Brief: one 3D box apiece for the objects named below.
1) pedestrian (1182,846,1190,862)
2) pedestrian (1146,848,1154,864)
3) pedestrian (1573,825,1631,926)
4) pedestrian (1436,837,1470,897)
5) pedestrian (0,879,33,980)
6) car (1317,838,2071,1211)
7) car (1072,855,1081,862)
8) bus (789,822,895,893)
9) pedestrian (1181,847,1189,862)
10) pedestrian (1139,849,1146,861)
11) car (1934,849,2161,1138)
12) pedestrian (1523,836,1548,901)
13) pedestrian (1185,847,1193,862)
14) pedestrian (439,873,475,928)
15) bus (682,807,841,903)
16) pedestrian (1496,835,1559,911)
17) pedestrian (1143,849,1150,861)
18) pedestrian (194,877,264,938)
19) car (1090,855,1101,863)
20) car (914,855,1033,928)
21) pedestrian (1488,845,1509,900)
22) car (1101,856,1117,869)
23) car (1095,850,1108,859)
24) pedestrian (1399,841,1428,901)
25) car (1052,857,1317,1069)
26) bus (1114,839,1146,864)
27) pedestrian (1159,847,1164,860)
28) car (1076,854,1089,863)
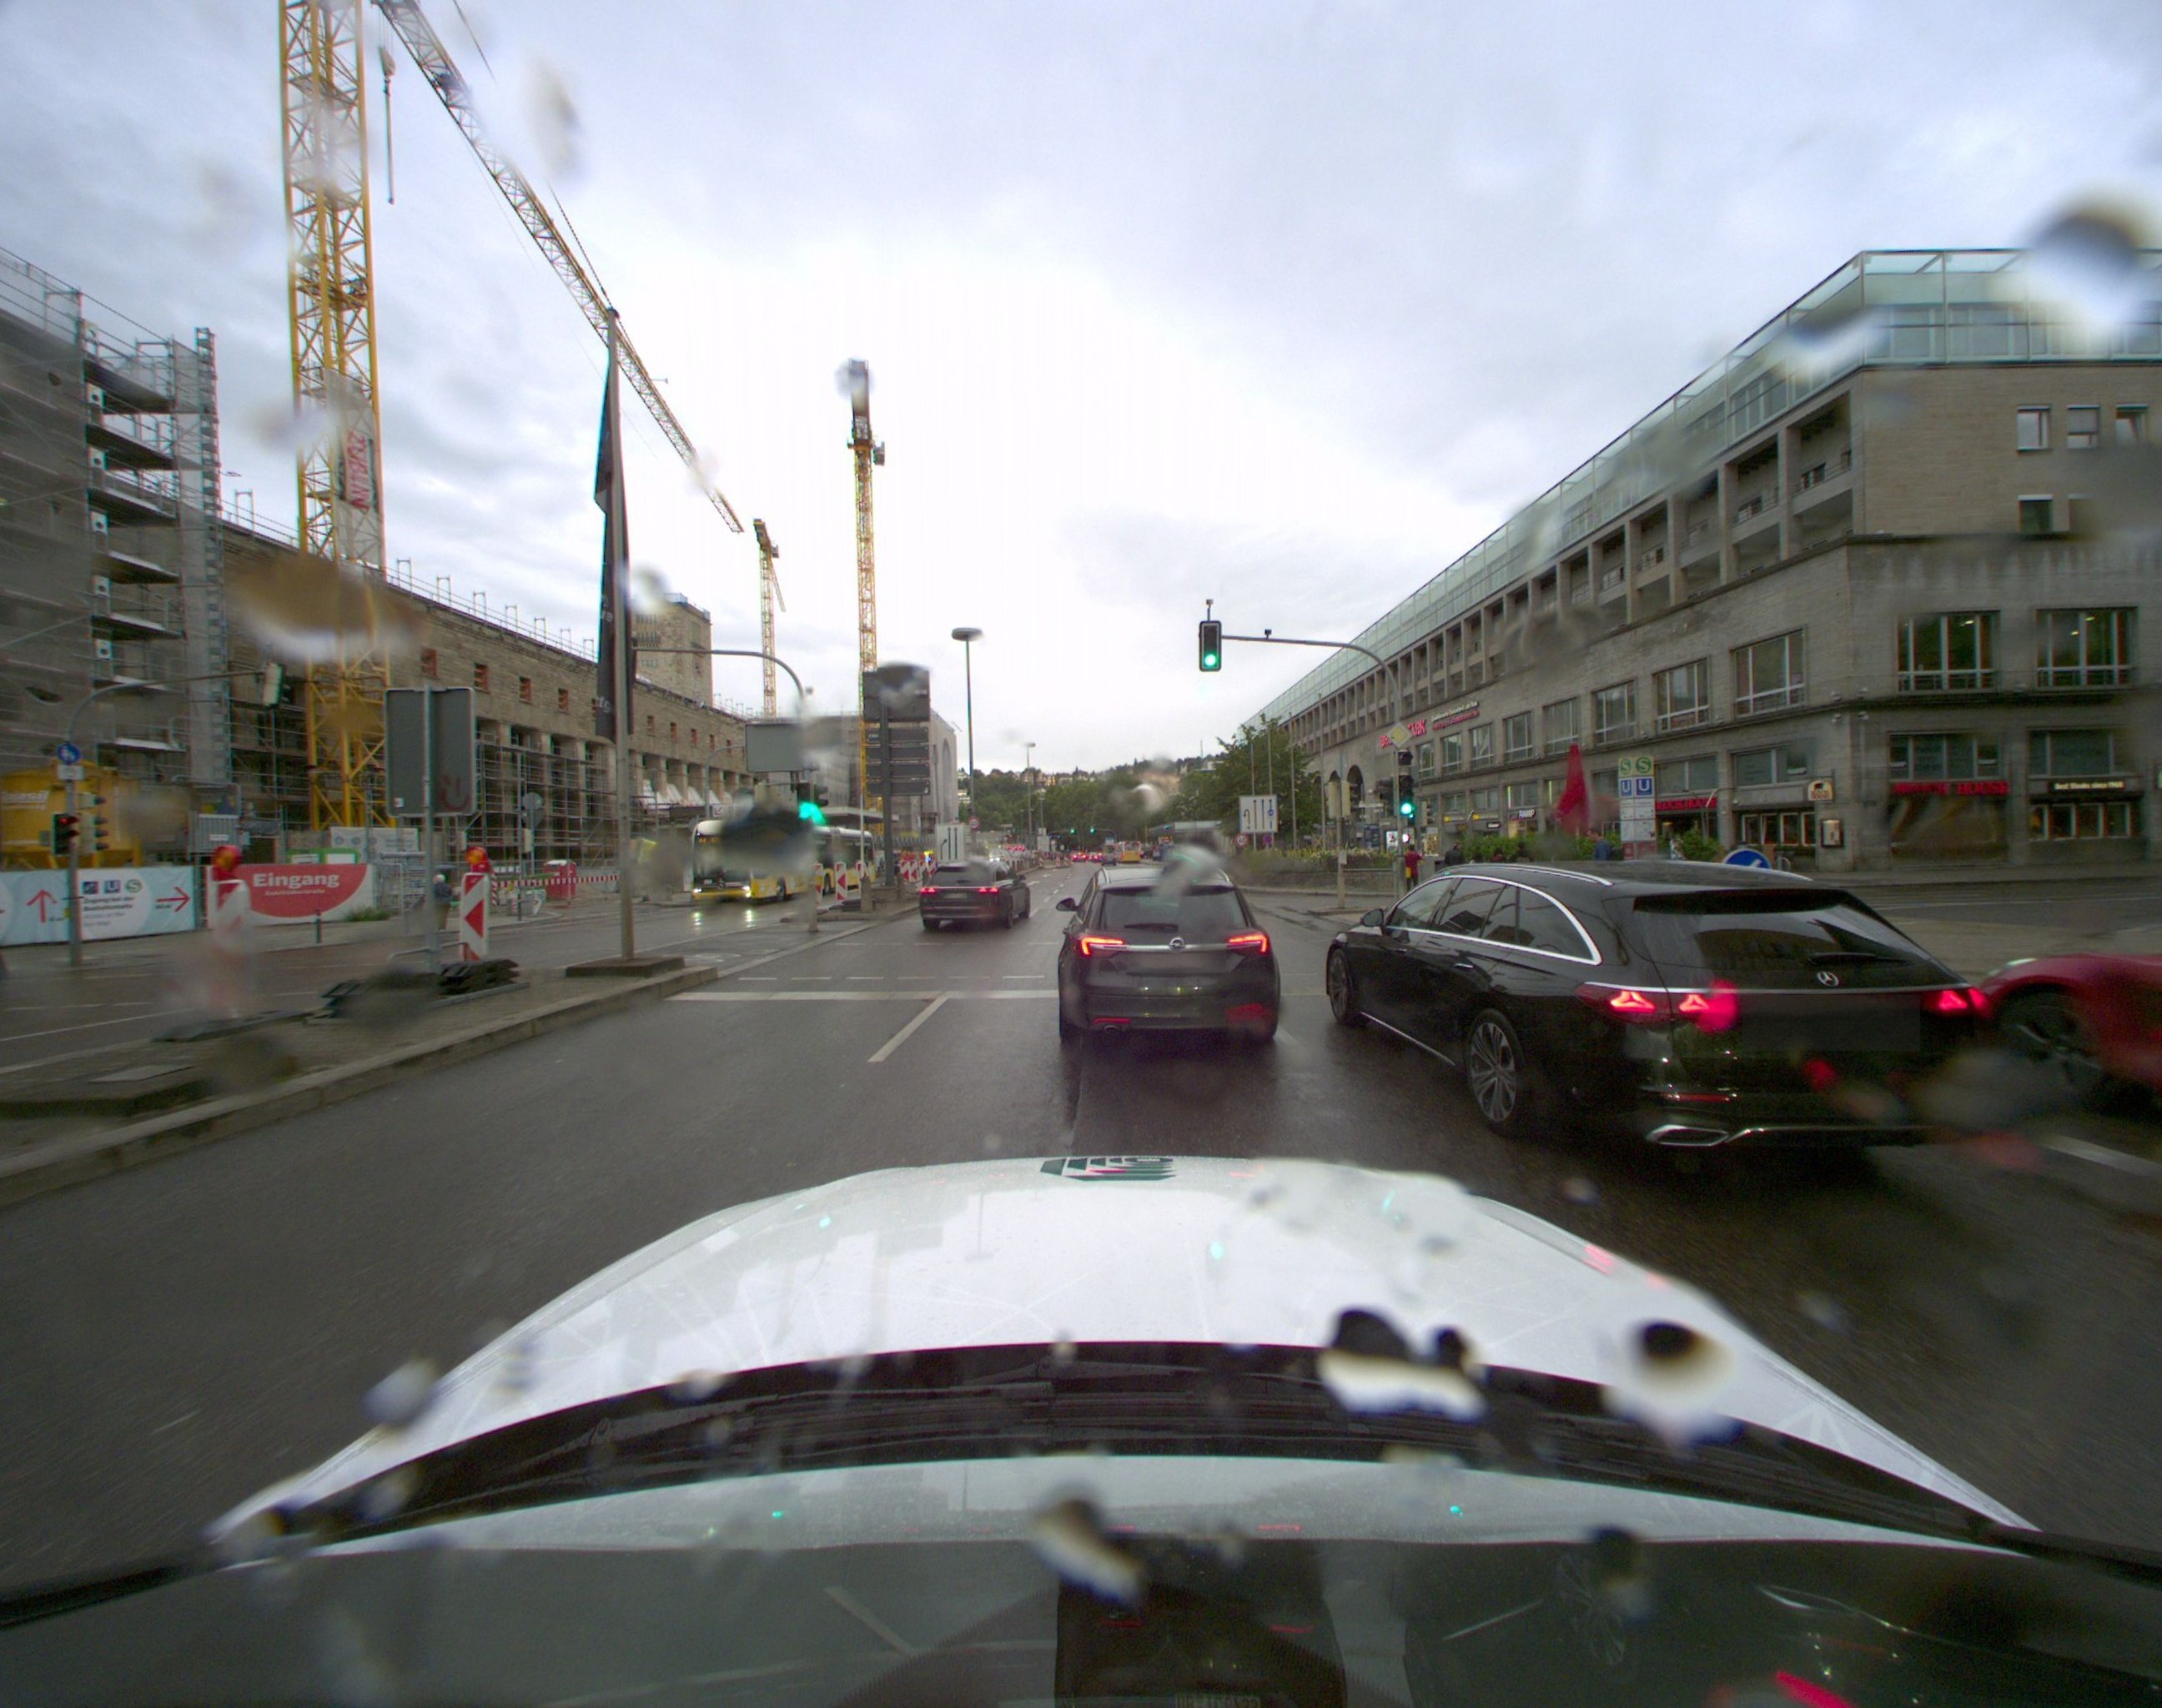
[{"bbox_3d":[11.302,-0.026,87.699,0.761,1.690,0.824,0,-1,-3],"label":"pedestrian"},{"bbox_3d":[10.856,0.286,127.563,1.194,2.435,1.229,0,-1,3],"label":"pedestrian"},{"bbox_3d":[9.309,0.375,14.555,0.770,1.756,0.507,-1,-1,45],"label":"pedestrian"},{"bbox_3d":[10.743,0.367,23.515,0.753,1.717,0.466,0,-1,-2],"label":"pedestrian"},{"bbox_3d":[-20.071,1.393,14.948,0.576,1.836,0.820,0,-1,2],"label":"pedestrian"},{"bbox_3d":[3.148,0.717,5.616,1.787,1.501,4.629,0,-1,1],"label":"car"},{"bbox_3d":[-0.844,0.855,157.194,1.752,1.398,3.565,0,-1,2],"label":"car"},{"bbox_3d":[-13.212,0.237,46.076,2.658,3.602,10.215,0,-1,2],"label":"bus"},{"bbox_3d":[11.922,0.029,93.675,0.761,1.690,0.824,0,-1,-3],"label":"pedestrian"},{"bbox_3d":[11.446,0.153,151.878,1.194,2.149,1.229,0,-1,3],"label":"pedestrian"},{"bbox_3d":[6.461,0.698,3.044,1.868,1.486,4.527,0,-1,1],"label":"car"},{"bbox_3d":[12.660,0.392,22.681,0.477,1.751,0.670,-4,-1,30],"label":"pedestrian"},{"bbox_3d":[12.243,0.013,92.512,0.761,1.690,0.824,0,-1,-3],"label":"pedestrian"},{"bbox_3d":[-18.291,1.342,23.888,0.790,1.561,0.866,0,-1,-34],"label":"pedestrian"},{"bbox_3d":[-13.527,0.112,35.794,2.658,3.602,10.242,0,-1,2],"label":"bus"},{"bbox_3d":[10.893,0.459,19.885,1.093,1.751,0.653,-3,-1,-1],"label":"pedestrian"},{"bbox_3d":[11.299,0.178,141.140,1.194,2.149,1.229,0,-1,3],"label":"pedestrian"},{"bbox_3d":[-22.919,1.425,21.932,0.912,1.563,0.899,0,-1,-2],"label":"pedestrian"},{"bbox_3d":[2.612,0.898,145.356,1.839,1.398,3.565,0,0,2],"label":"car"},{"bbox_3d":[-2.320,0.785,18.778,1.847,1.469,4.591,0,-1,4],"label":"car"},{"bbox_3d":[11.750,0.524,22.918,0.460,1.517,0.453,-1,-1,35],"label":"pedestrian"},{"bbox_3d":[3.346,1.016,96.581,1.839,1.398,3.668,0,-1,2],"label":"car"},{"bbox_3d":[3.068,0.089,122.427,1.748,1.398,4.646,0,-1,-1],"label":"car"},{"bbox_3d":[9.905,0.495,24.267,0.563,1.752,0.684,-1,-1,44],"label":"pedestrian"},{"bbox_3d":[0.777,0.794,7.763,1.868,1.486,4.001,0,-1,1],"label":"car"},{"bbox_3d":[7.056,-0.229,119.207,4.158,3.469,14.659,0,-1,2],"label":"bus"},{"bbox_3d":[10.643,-0.047,107.741,0.655,1.690,0.609,0,-1,2],"label":"pedestrian"},{"bbox_3d":[0.221,0.714,128.488,1.839,1.398,3.565,0,-1,2],"label":"car"}]
